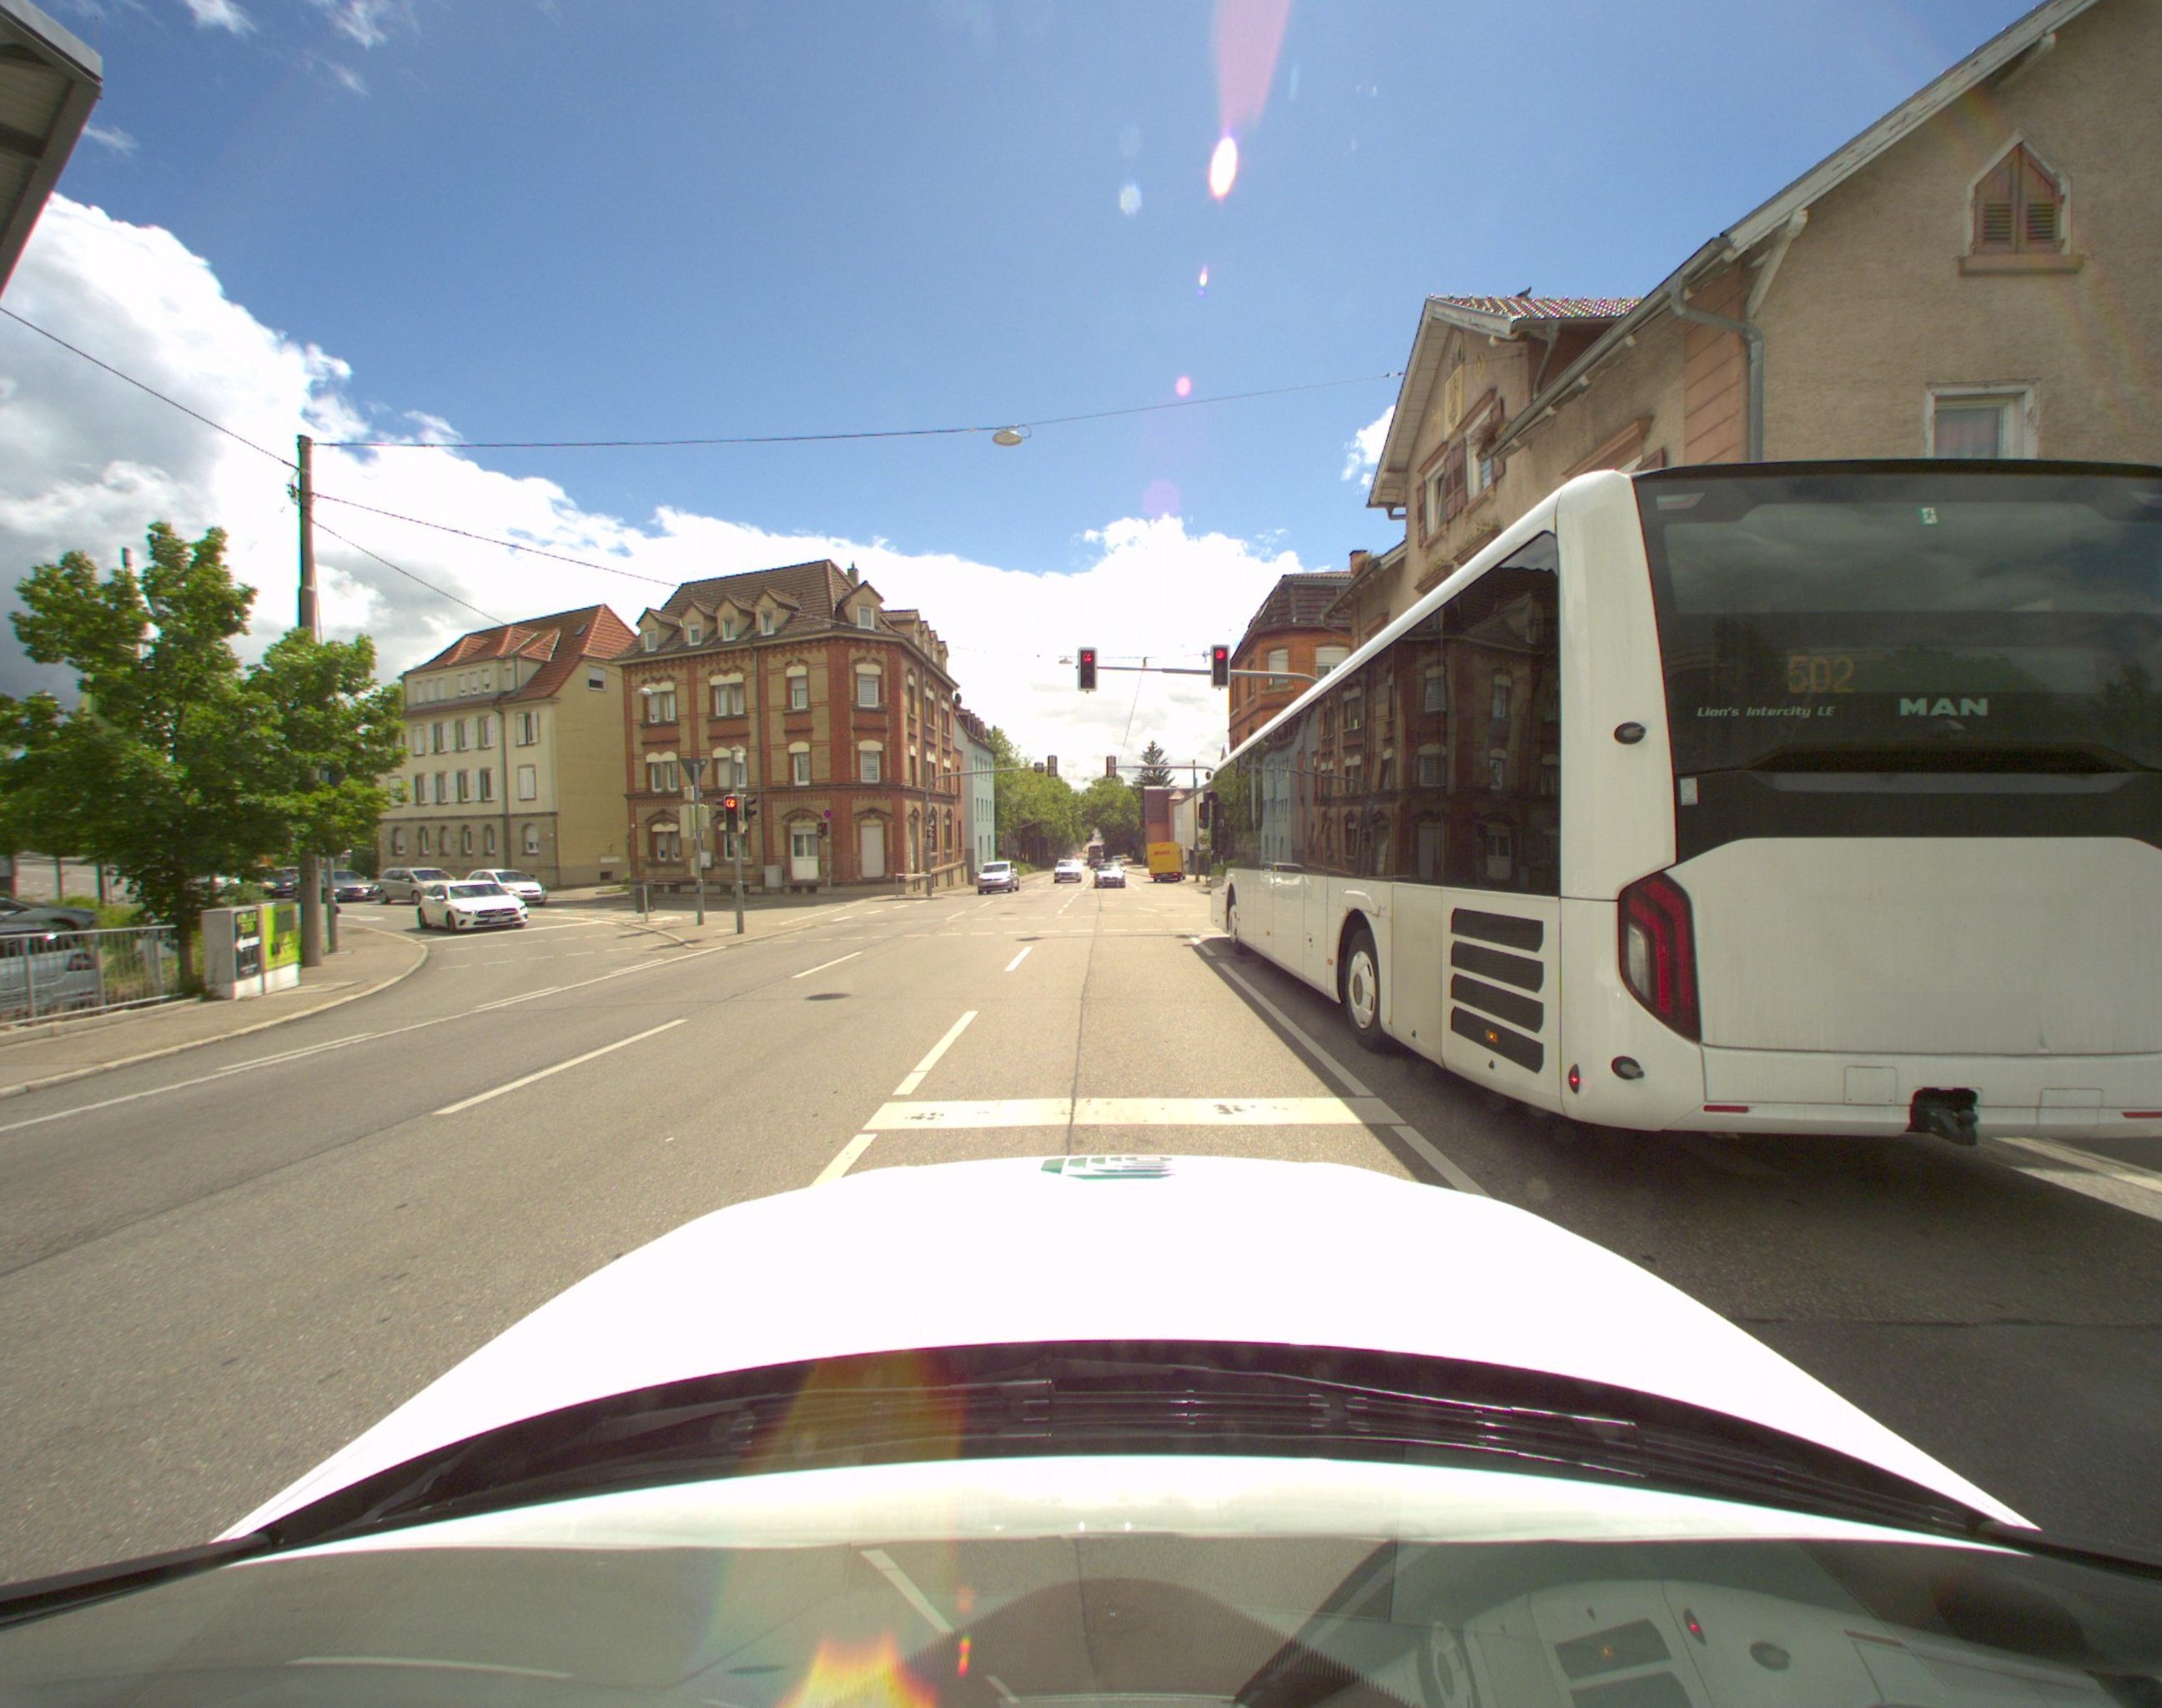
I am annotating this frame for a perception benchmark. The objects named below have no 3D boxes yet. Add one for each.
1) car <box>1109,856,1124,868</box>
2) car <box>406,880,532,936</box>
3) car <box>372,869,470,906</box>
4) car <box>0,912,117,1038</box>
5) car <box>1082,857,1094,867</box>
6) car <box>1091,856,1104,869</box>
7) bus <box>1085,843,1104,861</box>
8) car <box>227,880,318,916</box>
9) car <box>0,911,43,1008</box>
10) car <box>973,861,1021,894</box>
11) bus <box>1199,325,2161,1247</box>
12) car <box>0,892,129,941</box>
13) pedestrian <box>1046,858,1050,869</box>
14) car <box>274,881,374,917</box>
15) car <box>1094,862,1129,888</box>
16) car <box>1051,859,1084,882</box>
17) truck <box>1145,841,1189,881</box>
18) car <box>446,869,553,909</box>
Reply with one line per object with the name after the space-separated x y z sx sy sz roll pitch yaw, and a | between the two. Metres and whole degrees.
5.654 1.235 129.552 2.086 1.830 4.140 -1 0 -1 | car
-18.249 1.542 24.215 4.334 1.447 1.875 -2 0 37 | car
-29.210 1.471 36.048 3.951 1.519 1.757 -1 0 24 | car
-16.121 1.741 12.182 3.638 1.575 1.766 -1 -2 34 | car
1.255 1.399 145.001 2.086 1.830 4.140 -1 0 -1 | car
2.418 1.138 116.741 1.812 1.784 4.002 -2 0 2 | car
2.791 -0.342 171.911 3.293 3.631 11.232 -2 0 -3 | bus
-40.012 2.133 40.289 4.291 1.586 2.012 -1 0 29 | car
-19.717 1.833 14.152 3.744 1.523 1.526 -1 0 30 | car
-4.417 1.211 43.570 1.928 1.563 4.390 -2 0 2 | car
3.532 -0.216 9.351 2.893 3.510 12.492 0 0 2 | bus
-29.258 1.732 22.214 1.795 1.186 4.025 -1 0 31 | car
-5.551 1.635 136.889 0.604 1.758 0.653 -2 0 0 | pedestrian
-35.454 2.080 38.141 3.951 1.519 2.011 -1 0 24 | car
1.724 1.165 46.777 1.858 1.367 4.549 -2 0 2 | car
-0.941 1.190 61.202 2.199 1.613 4.549 -2 0 2 | car
6.619 0.539 61.983 2.524 2.913 6.595 -1 -1 13 | truck
-23.602 1.393 33.061 3.951 1.497 1.711 -1 0 24 | car
